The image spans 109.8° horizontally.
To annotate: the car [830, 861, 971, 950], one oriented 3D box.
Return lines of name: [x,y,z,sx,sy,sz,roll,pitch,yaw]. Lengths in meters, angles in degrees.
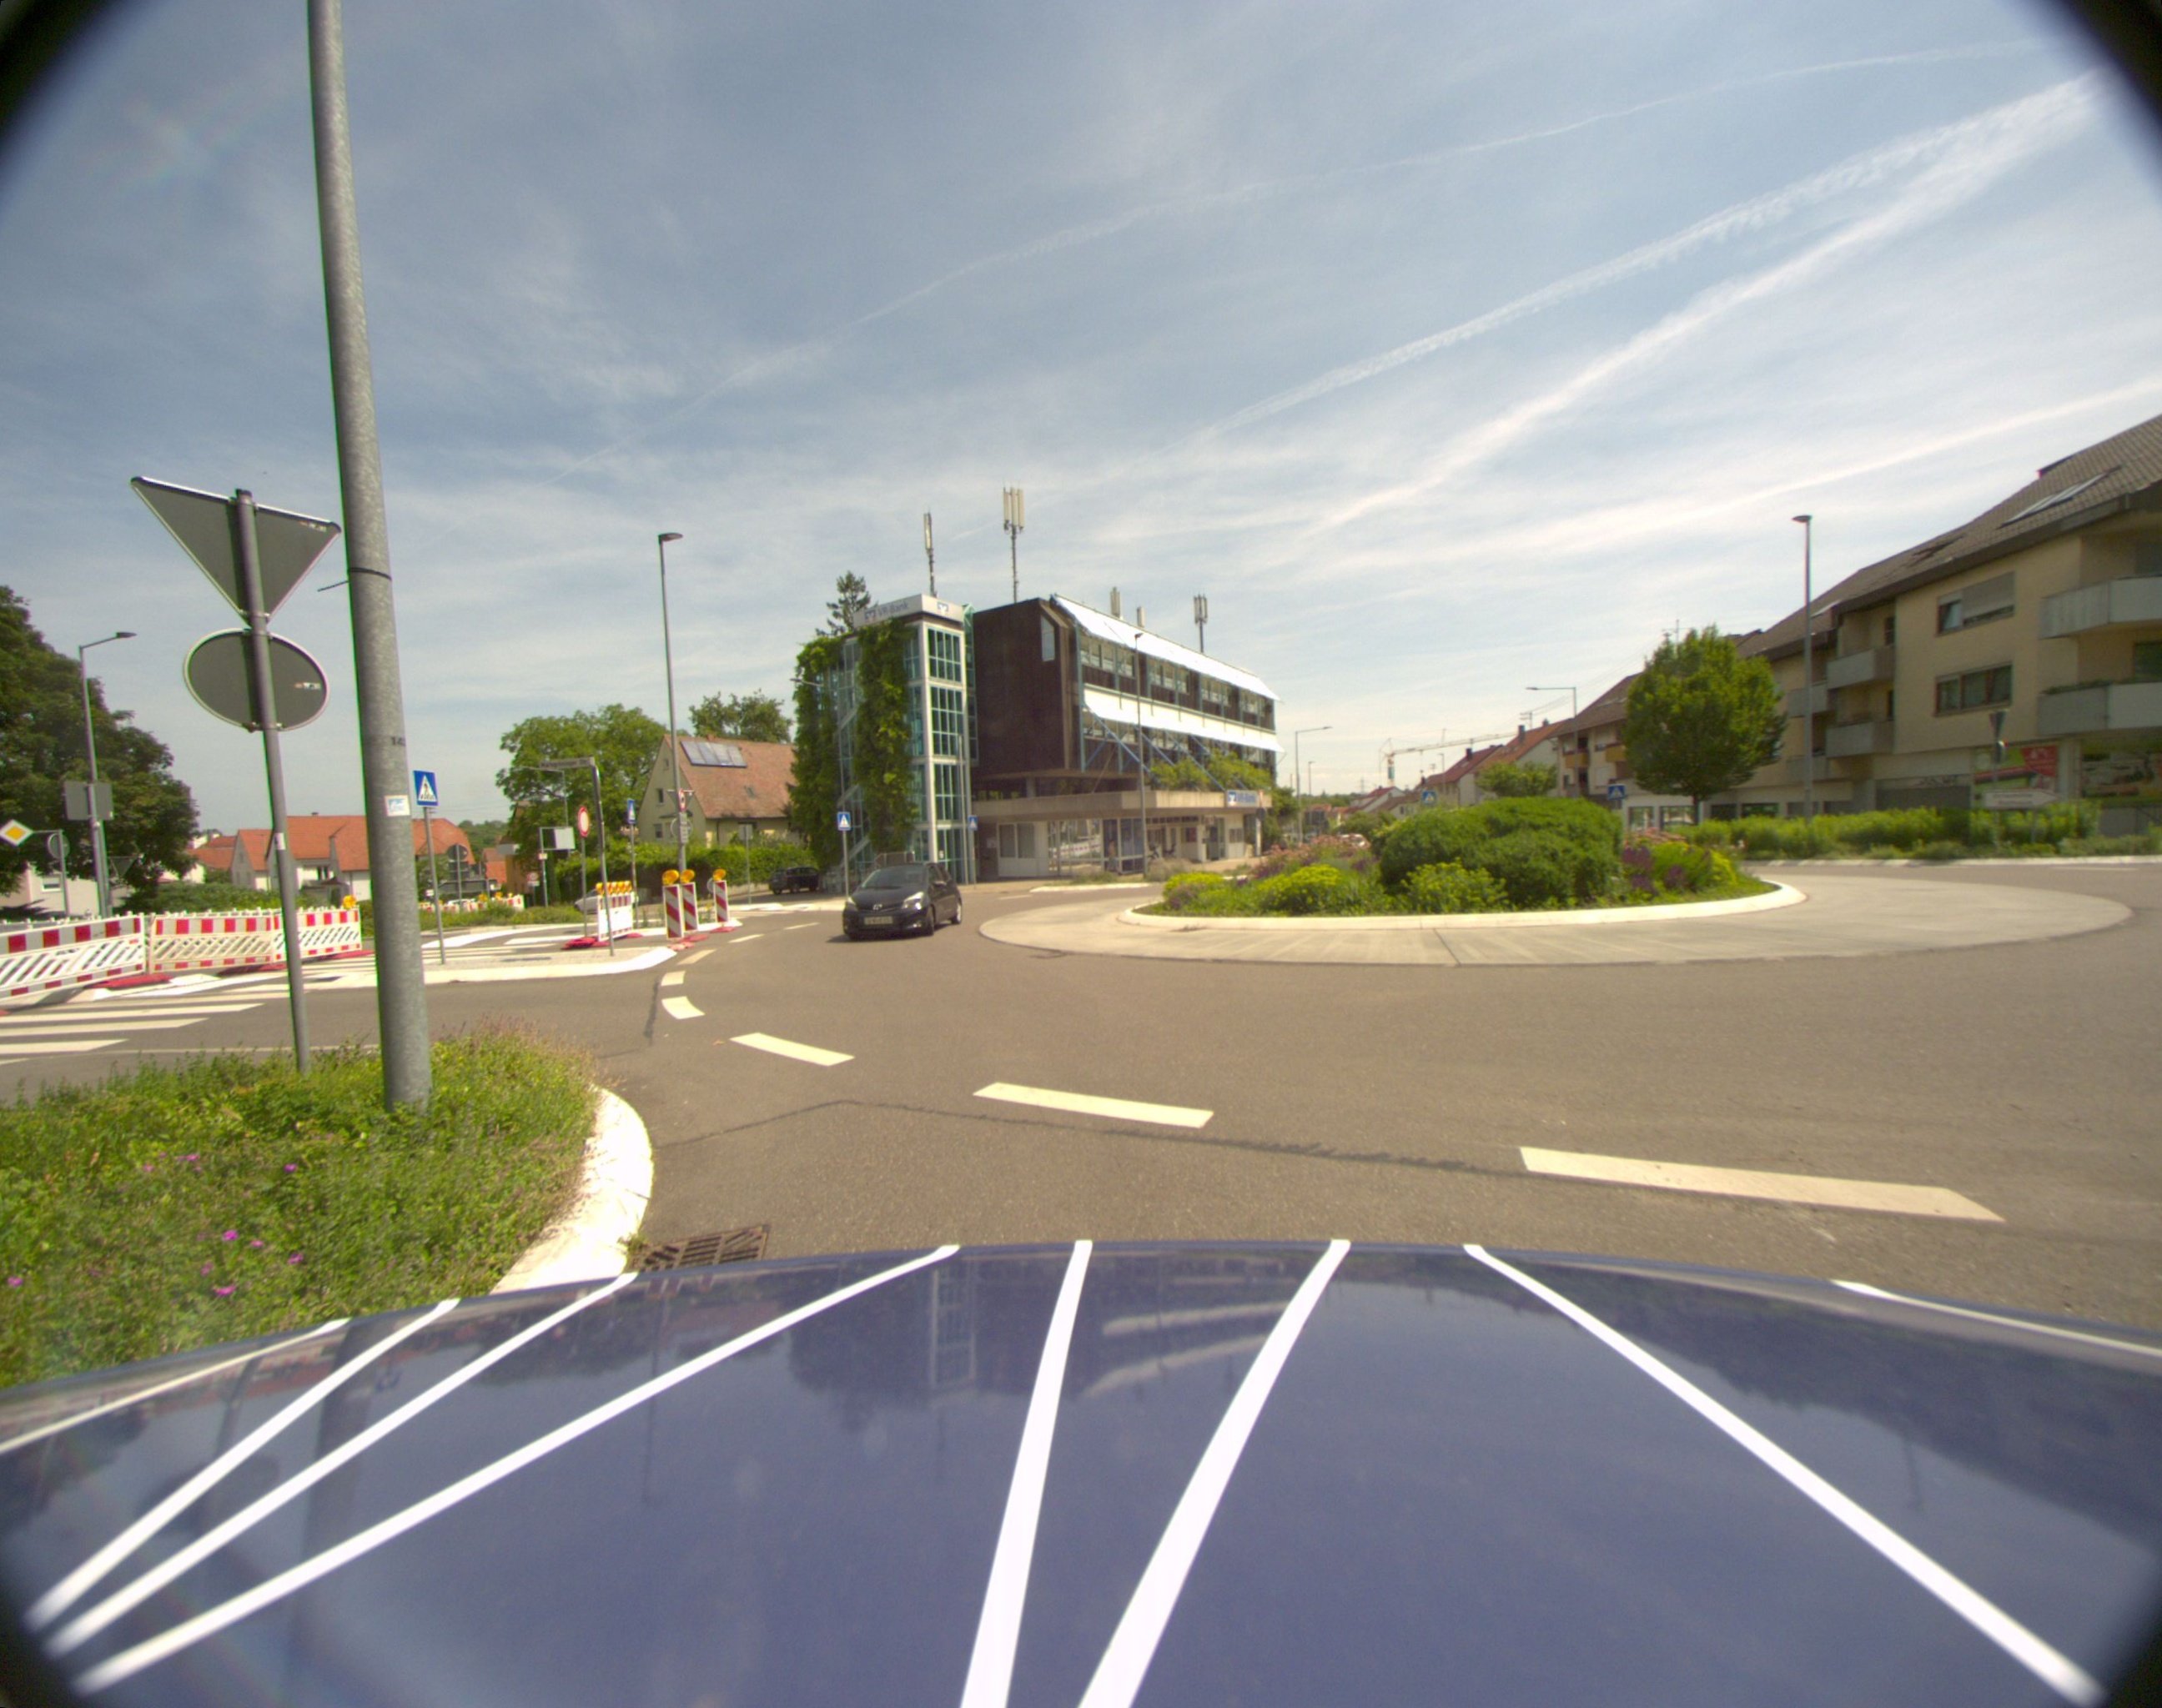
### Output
car: [-3.633,0.971,16.177,1.725,1.448,4.430,-3,1,2]

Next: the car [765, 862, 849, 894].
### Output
car: [-16.088,1.400,44.750,1.858,1.429,4.233,-3,3,36]
